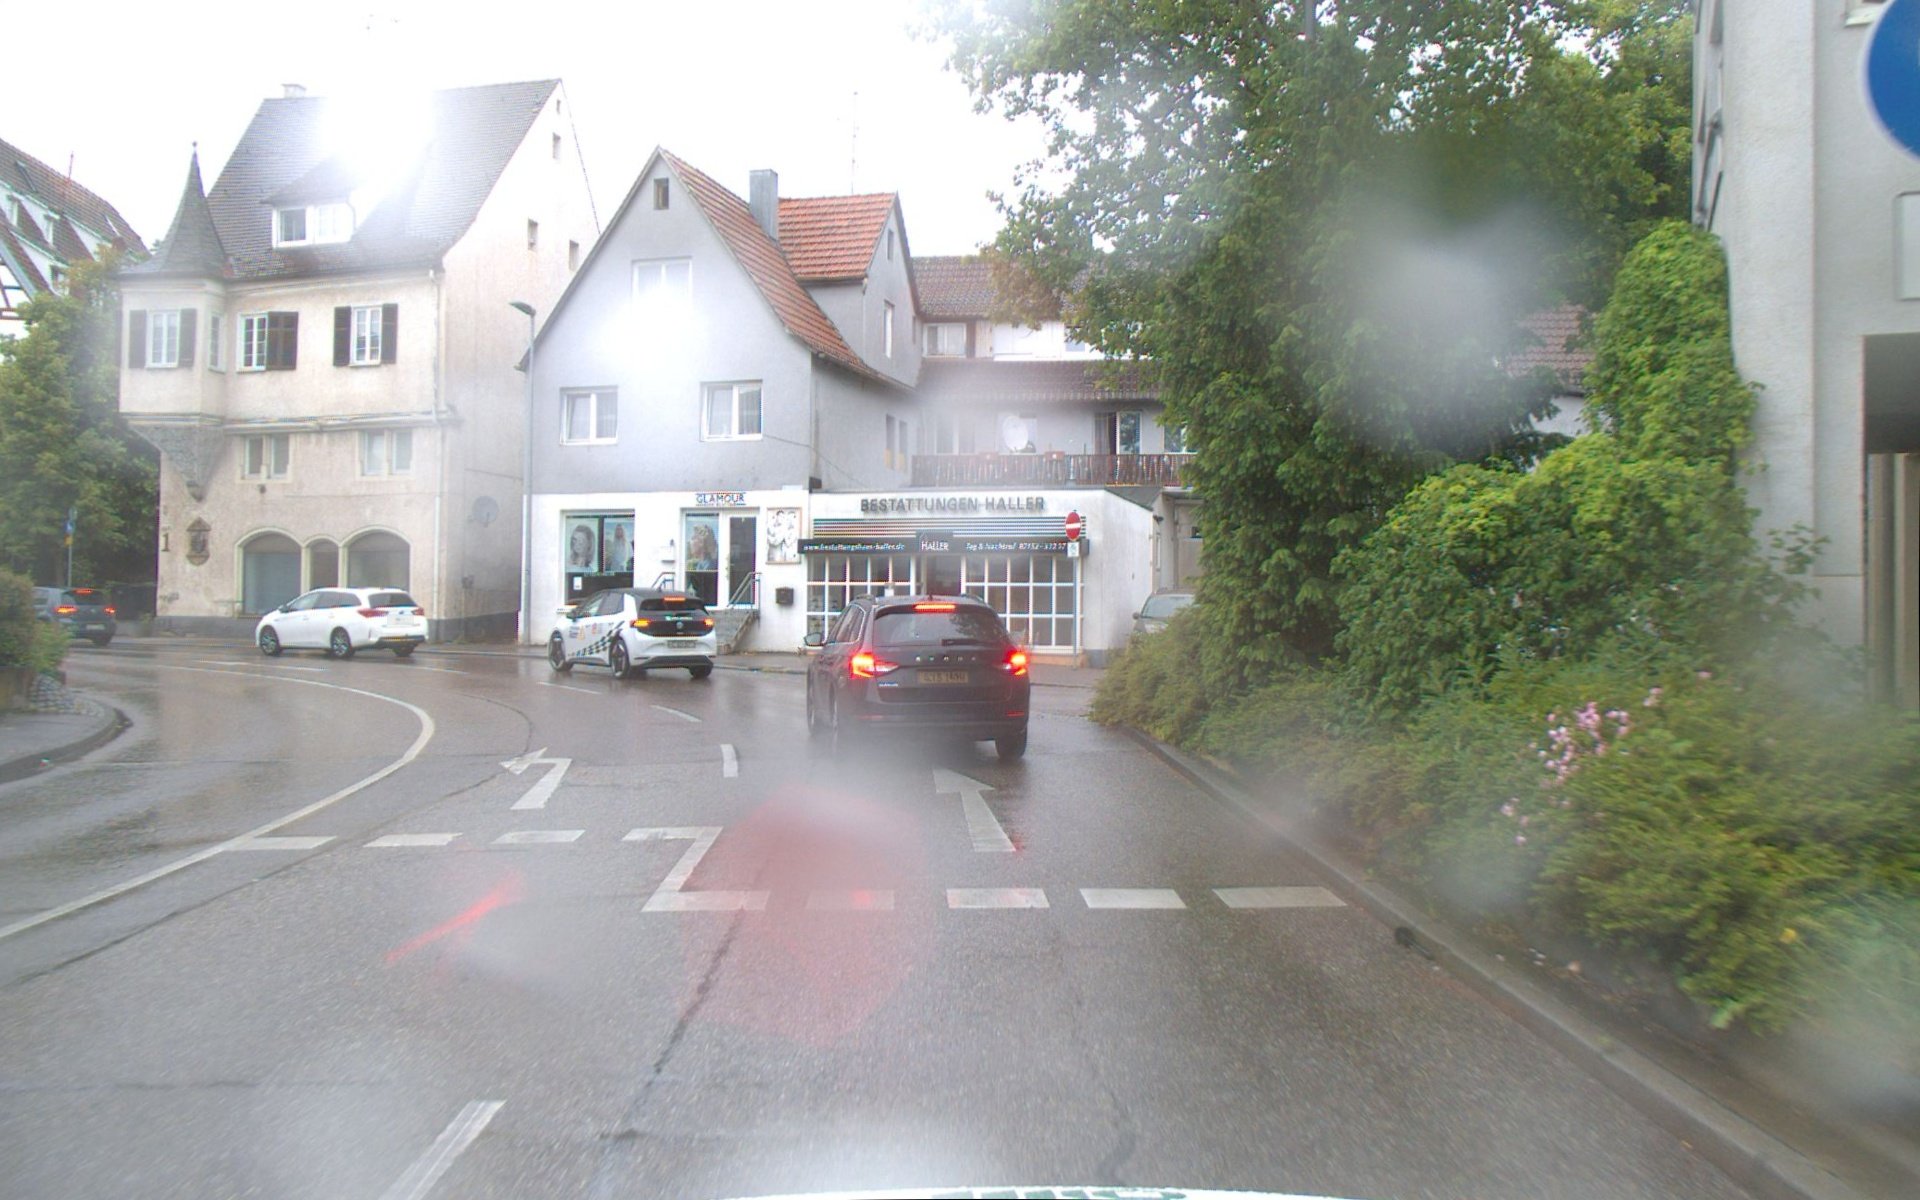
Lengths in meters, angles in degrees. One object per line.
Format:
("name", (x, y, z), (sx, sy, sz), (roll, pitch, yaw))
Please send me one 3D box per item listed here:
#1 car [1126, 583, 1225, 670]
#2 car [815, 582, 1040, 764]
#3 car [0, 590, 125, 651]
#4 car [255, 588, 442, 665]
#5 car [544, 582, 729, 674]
("car", (4.930, 0.535, 37.347), (1.882, 1.758, 4.673), (0, 1, 12))
("car", (-0.455, 0.592, 16.074), (1.699, 1.475, 4.234), (0, 1, -8))
("car", (-22.807, 0.491, 41.377), (3.681, 1.385, 1.522), (1, 2, 25))
("car", (-13.374, 0.530, 36.136), (4.077, 1.491, 1.786), (2, 2, 33))
("car", (-5.979, 0.452, 30.217), (1.774, 1.543, 4.188), (-1, 1, -35))
